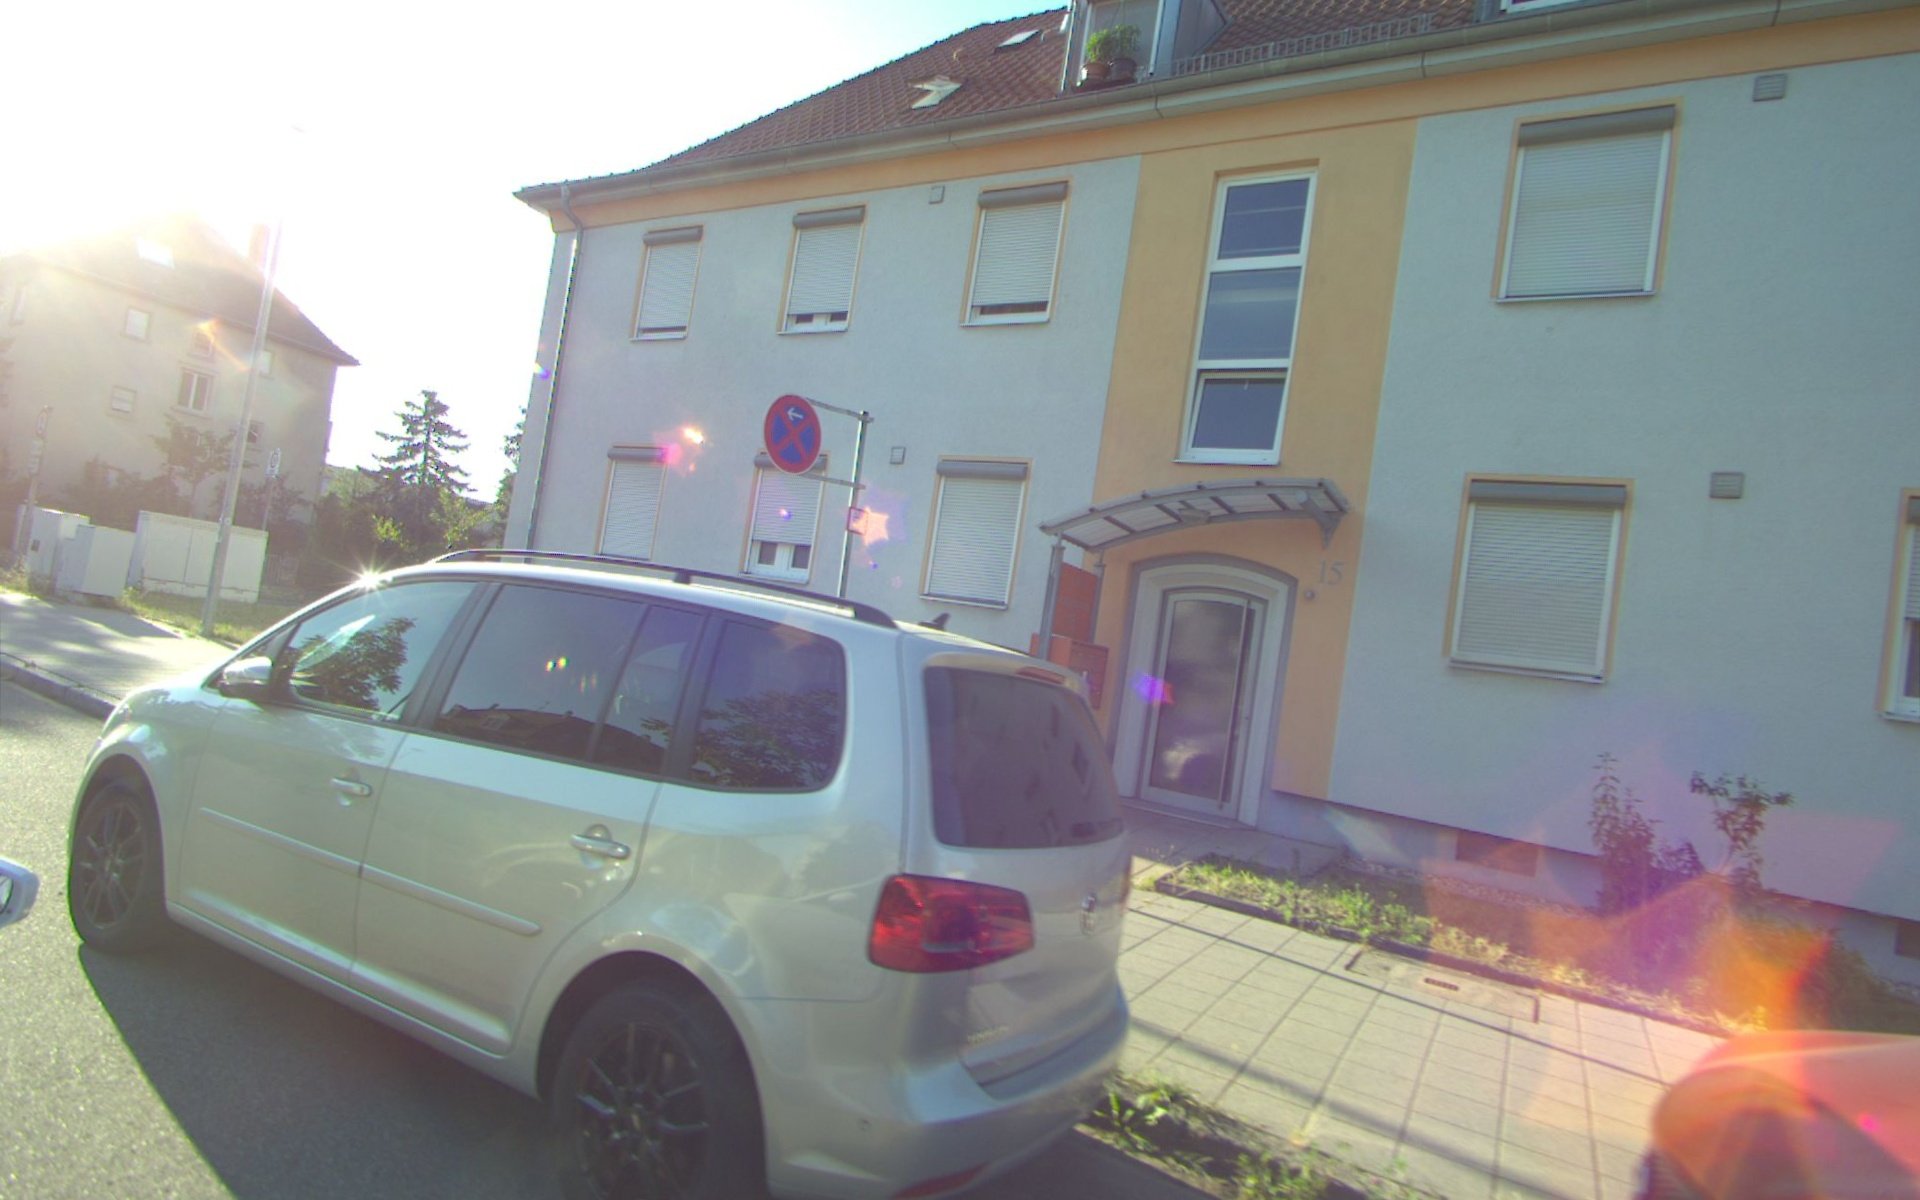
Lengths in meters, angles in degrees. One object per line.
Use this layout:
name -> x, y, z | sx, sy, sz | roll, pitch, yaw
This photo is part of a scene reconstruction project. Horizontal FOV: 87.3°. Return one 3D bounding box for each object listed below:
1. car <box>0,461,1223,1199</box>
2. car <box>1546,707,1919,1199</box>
car -> -1.558, 0.628, 3.760 | 4.484, 1.655, 1.724 | 7, -5, 28
car -> 2.886, 1.198, 1.180 | 3.672, 1.544, 1.733 | 7, -1, 31
